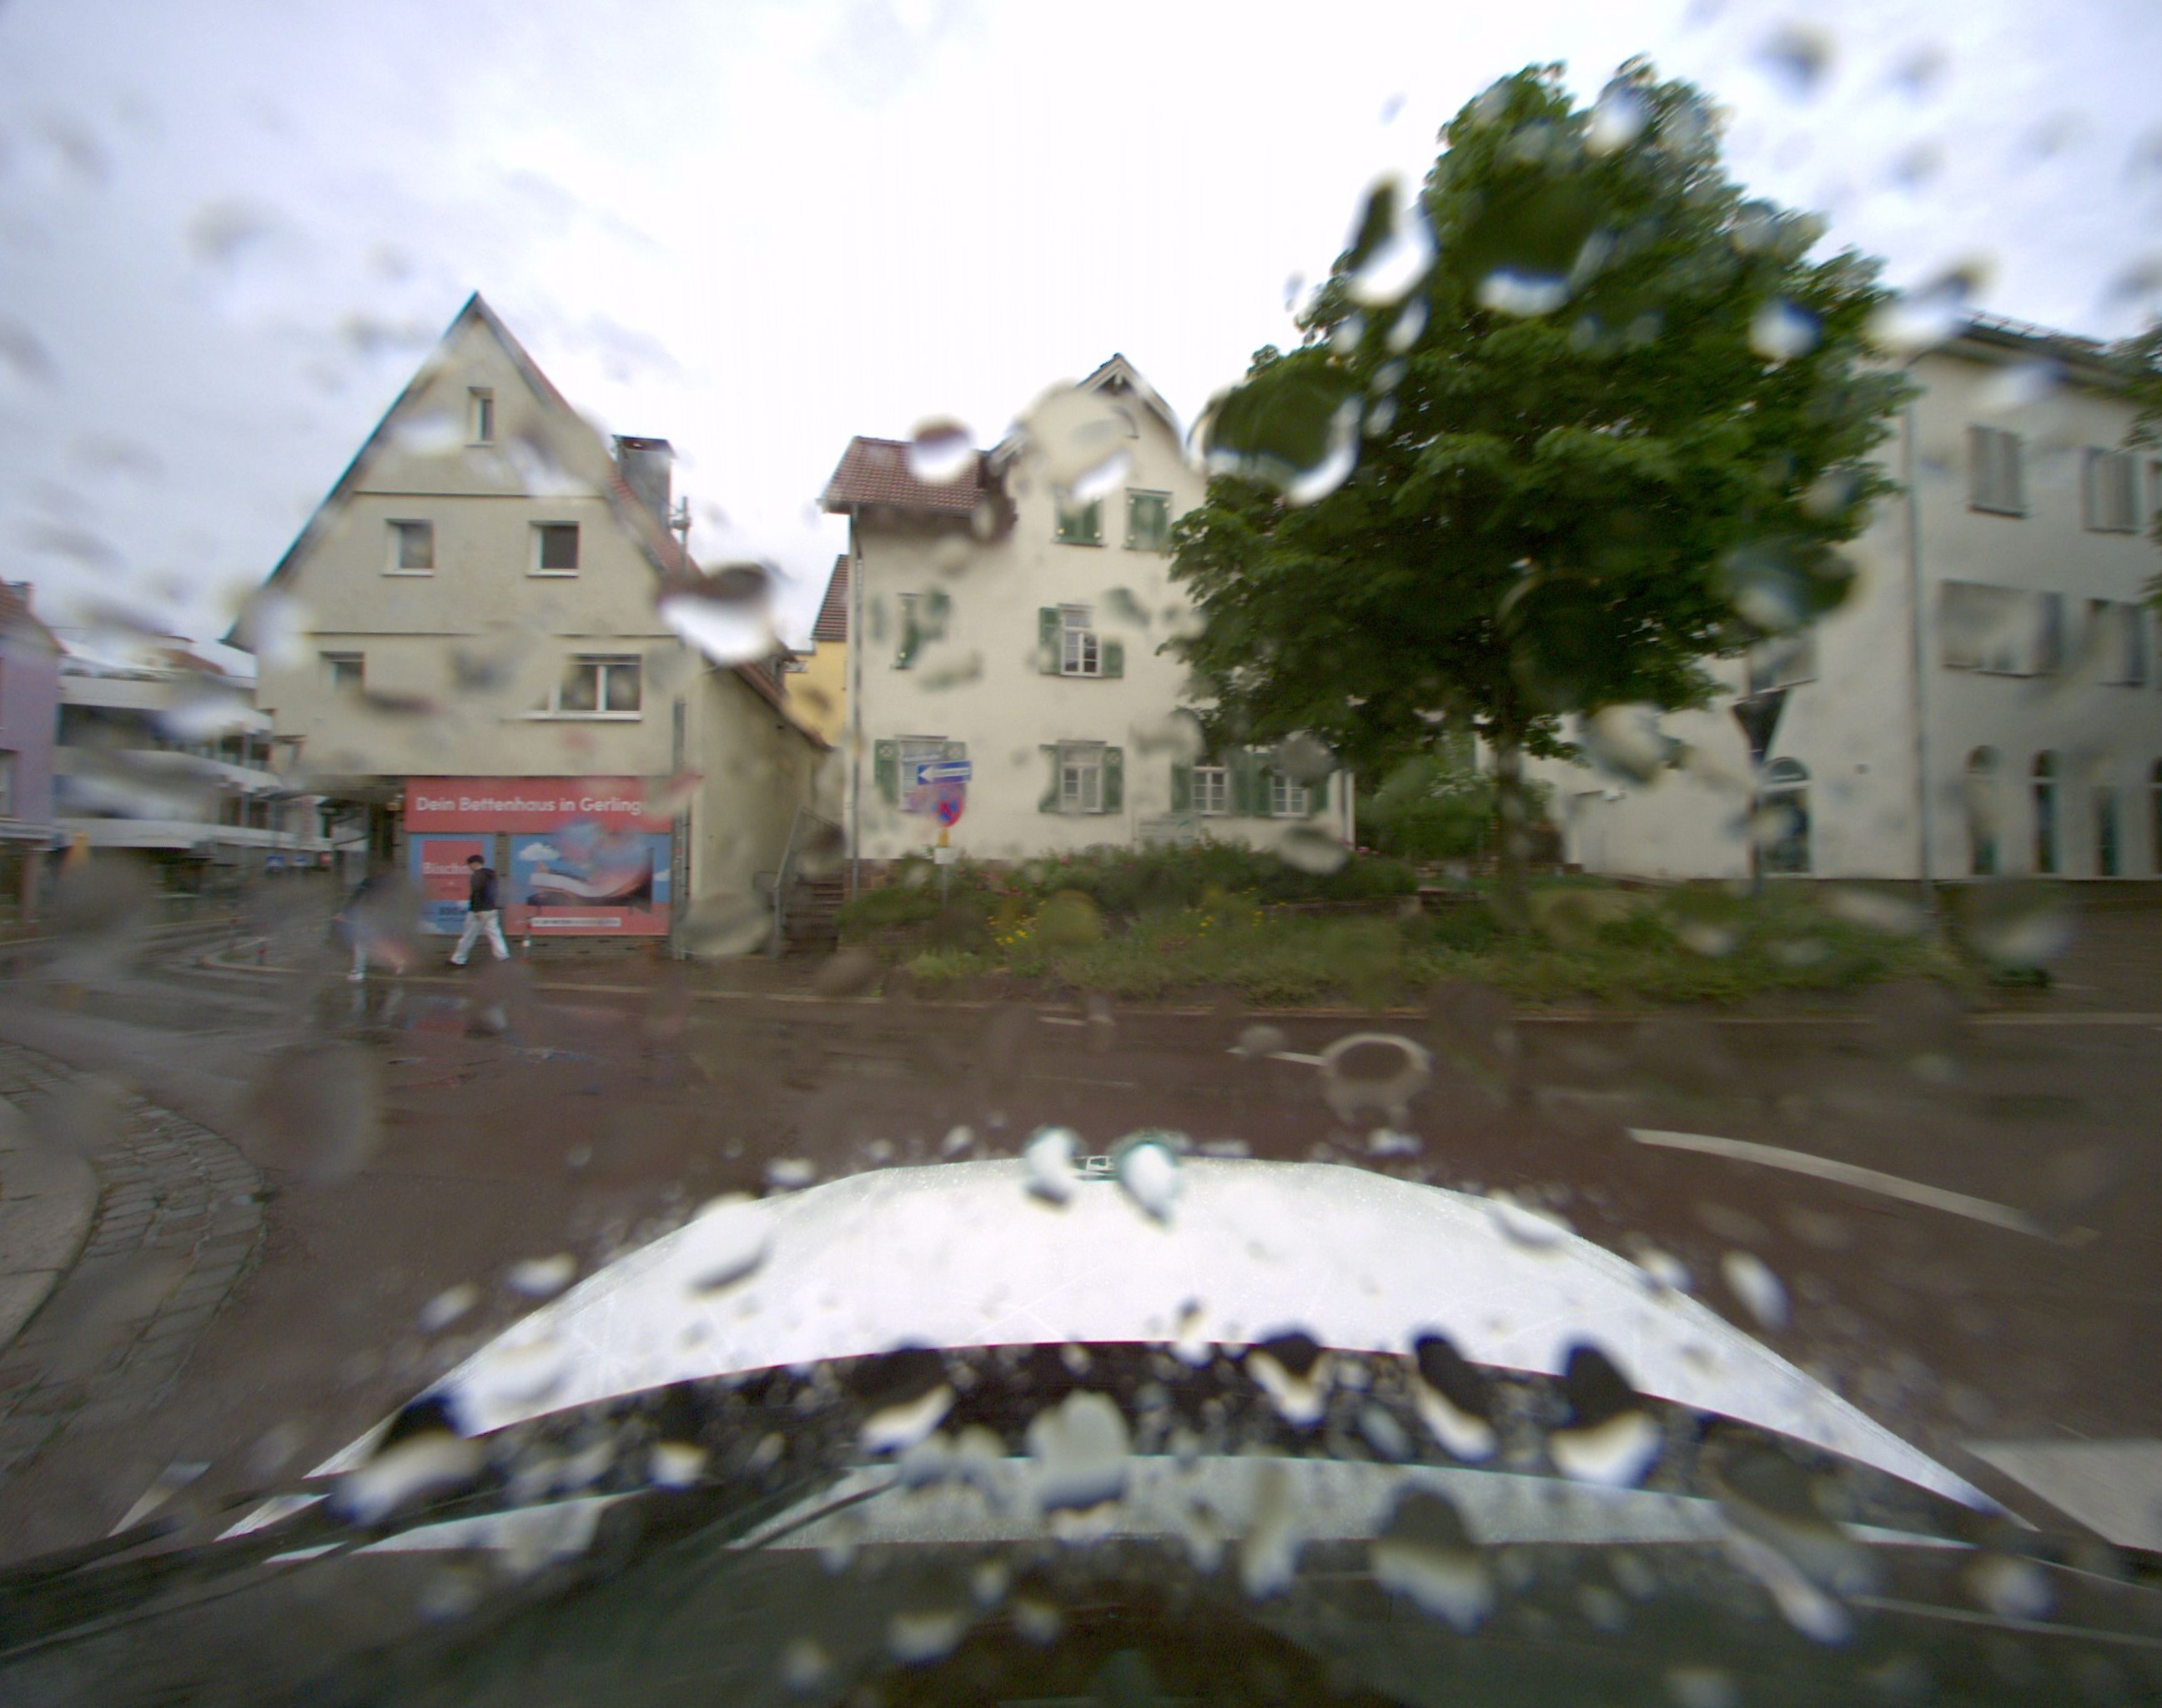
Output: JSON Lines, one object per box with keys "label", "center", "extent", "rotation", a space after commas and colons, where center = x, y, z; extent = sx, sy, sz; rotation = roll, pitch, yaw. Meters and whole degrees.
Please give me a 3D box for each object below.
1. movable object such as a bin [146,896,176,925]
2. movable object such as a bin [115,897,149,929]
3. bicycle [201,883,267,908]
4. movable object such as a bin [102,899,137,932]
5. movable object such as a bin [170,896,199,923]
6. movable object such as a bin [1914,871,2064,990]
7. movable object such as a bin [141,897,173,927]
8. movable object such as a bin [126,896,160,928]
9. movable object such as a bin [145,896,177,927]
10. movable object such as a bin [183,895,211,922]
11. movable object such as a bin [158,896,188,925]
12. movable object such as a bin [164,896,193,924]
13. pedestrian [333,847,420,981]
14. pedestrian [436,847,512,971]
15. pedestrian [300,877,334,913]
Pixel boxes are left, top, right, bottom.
{"label": "movable object such as a bin", "center": [-36.548, 2.251, 32.358], "extent": [0.636, 1.128, 0.571], "rotation": [0, -3, -29]}
{"label": "movable object such as a bin", "center": [-34.418, 2.126, 29.545], "extent": [0.636, 1.128, 0.571], "rotation": [0, -3, -29]}
{"label": "bicycle", "center": [-47.348, 2.288, 45.537], "extent": [2.312, 1.314, 1.002], "rotation": [0, -2, -24]}
{"label": "movable object such as a bin", "center": [-34.061, 2.161, 28.856], "extent": [0.636, 1.128, 0.571], "rotation": [0, -3, -29]}
{"label": "movable object such as a bin", "center": [-37.581, 2.325, 34.141], "extent": [0.636, 1.128, 0.571], "rotation": [0, -3, -29]}
{"label": "movable object such as a bin", "center": [9.139, 0.743, 8.225], "extent": [0.648, 1.124, 0.737], "rotation": [-1, -2, -9]}
{"label": "movable object such as a bin", "center": [-36.088, 2.248, 31.808], "extent": [0.636, 1.128, 0.571], "rotation": [0, -3, -29]}
{"label": "movable object such as a bin", "center": [-34.799, 2.152, 30.229], "extent": [0.636, 1.128, 0.571], "rotation": [0, -3, -29]}
{"label": "movable object such as a bin", "center": [-35.350, 2.204, 31.292], "extent": [0.636, 1.128, 0.571], "rotation": [0, -3, -29]}
{"label": "movable object such as a bin", "center": [-37.746, 2.334, 34.762], "extent": [0.636, 1.128, 0.571], "rotation": [0, -3, -29]}
{"label": "movable object such as a bin", "center": [-36.859, 2.289, 33.069], "extent": [0.636, 1.128, 0.571], "rotation": [0, -3, -29]}
{"label": "movable object such as a bin", "center": [-37.246, 2.319, 33.612], "extent": [0.636, 1.128, 0.571], "rotation": [0, -3, -29]}
{"label": "pedestrian", "center": [-10.953, 0.915, 12.678], "extent": [0.756, 2.014, 0.653], "rotation": [-1, -2, 1]}
{"label": "pedestrian", "center": [-10.183, 0.909, 13.678], "extent": [0.756, 2.014, 0.653], "rotation": [-1, -2, 1]}
{"label": "pedestrian", "center": [-43.085, 2.297, 45.933], "extent": [1.148, 2.014, 0.820], "rotation": [2, -2, -30]}
